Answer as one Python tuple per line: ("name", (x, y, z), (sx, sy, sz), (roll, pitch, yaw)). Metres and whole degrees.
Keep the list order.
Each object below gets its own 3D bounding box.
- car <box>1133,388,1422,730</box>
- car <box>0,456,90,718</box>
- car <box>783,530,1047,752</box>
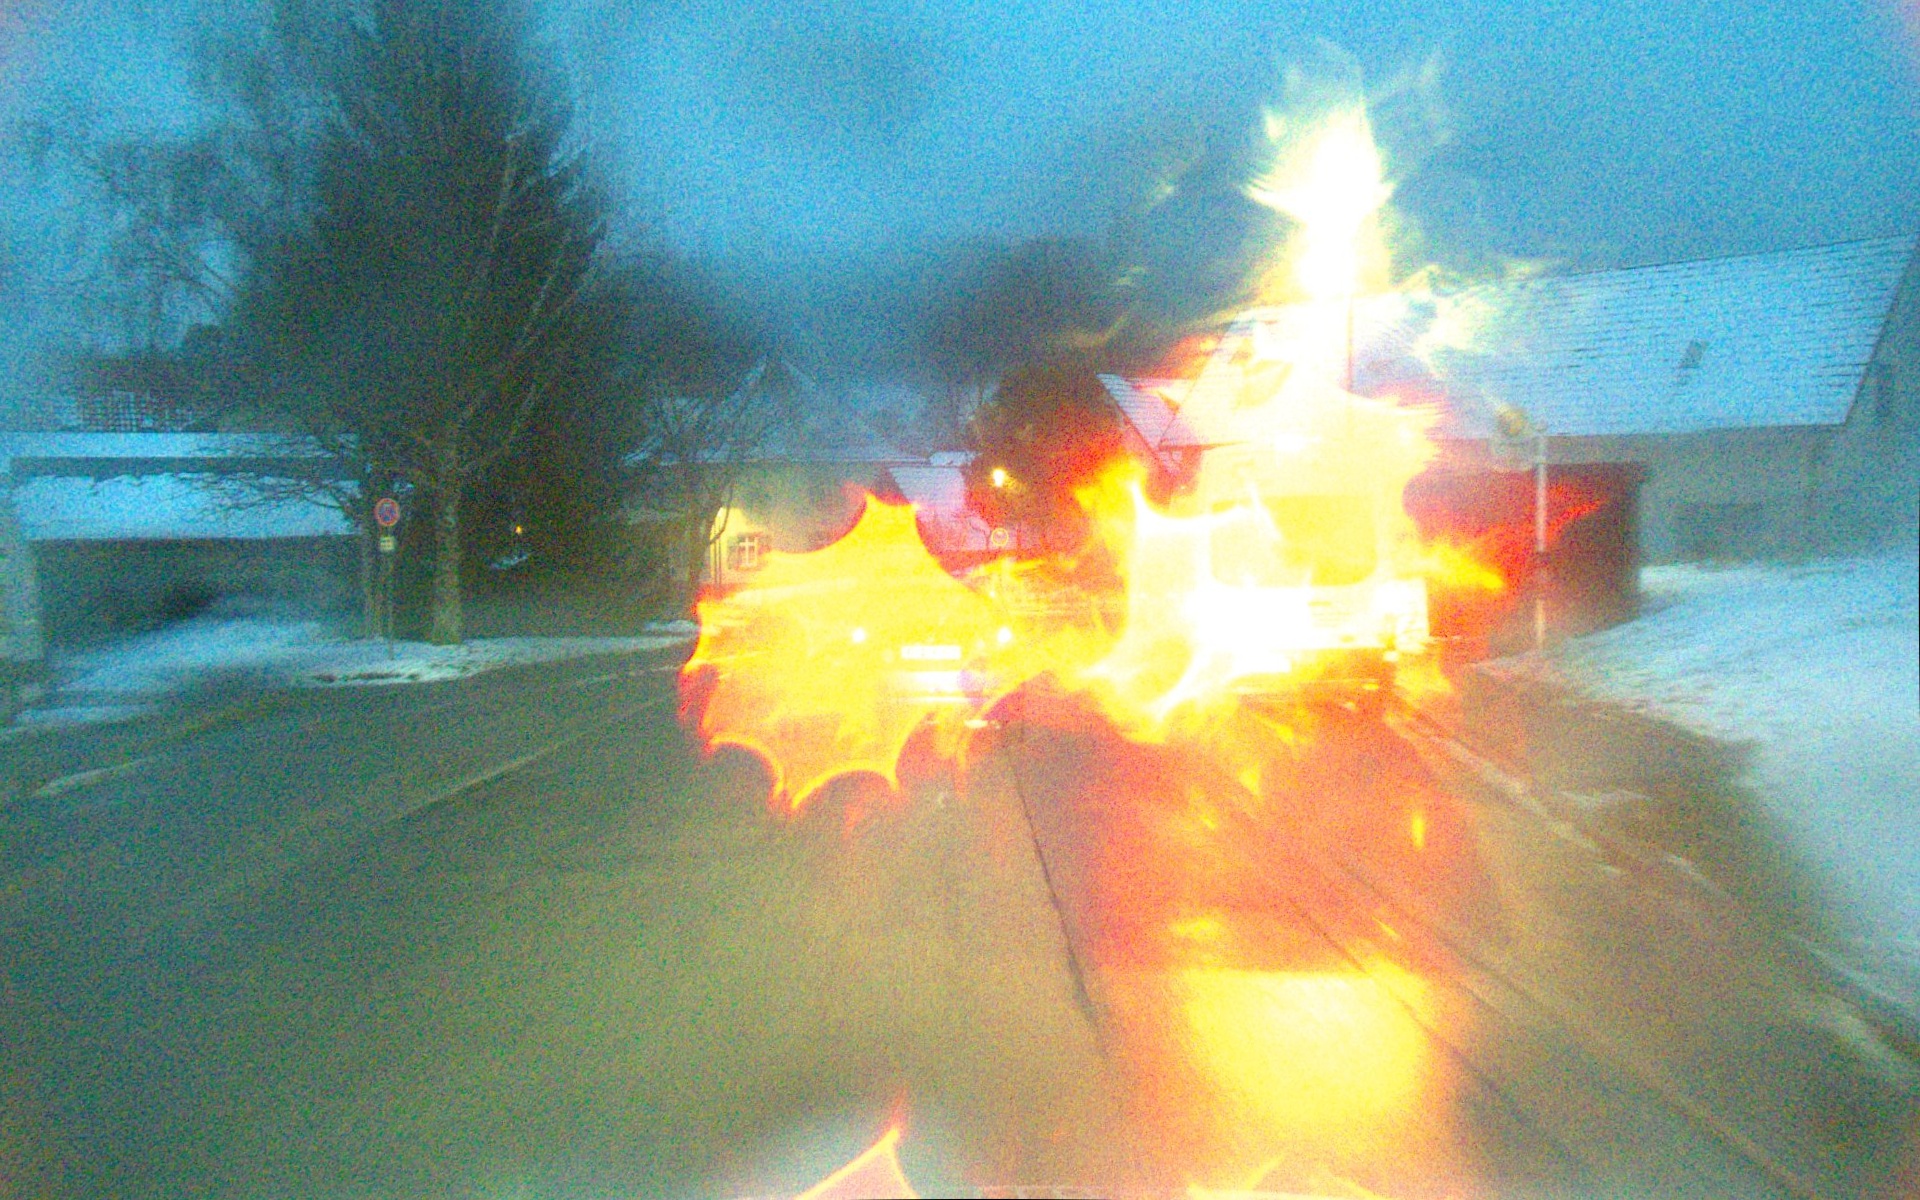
("car", (3.207, -0.477, 17.900), (2.384, 3.070, 5.329), (-2, 2, 4))
("car", (-10.775, -0.129, 15.125), (2.419, 2.616, 6.227), (1, 0, -1))
("car", (-0.413, 0.311, 16.521), (2.228, 1.873, 5.006), (0, 1, -1))
